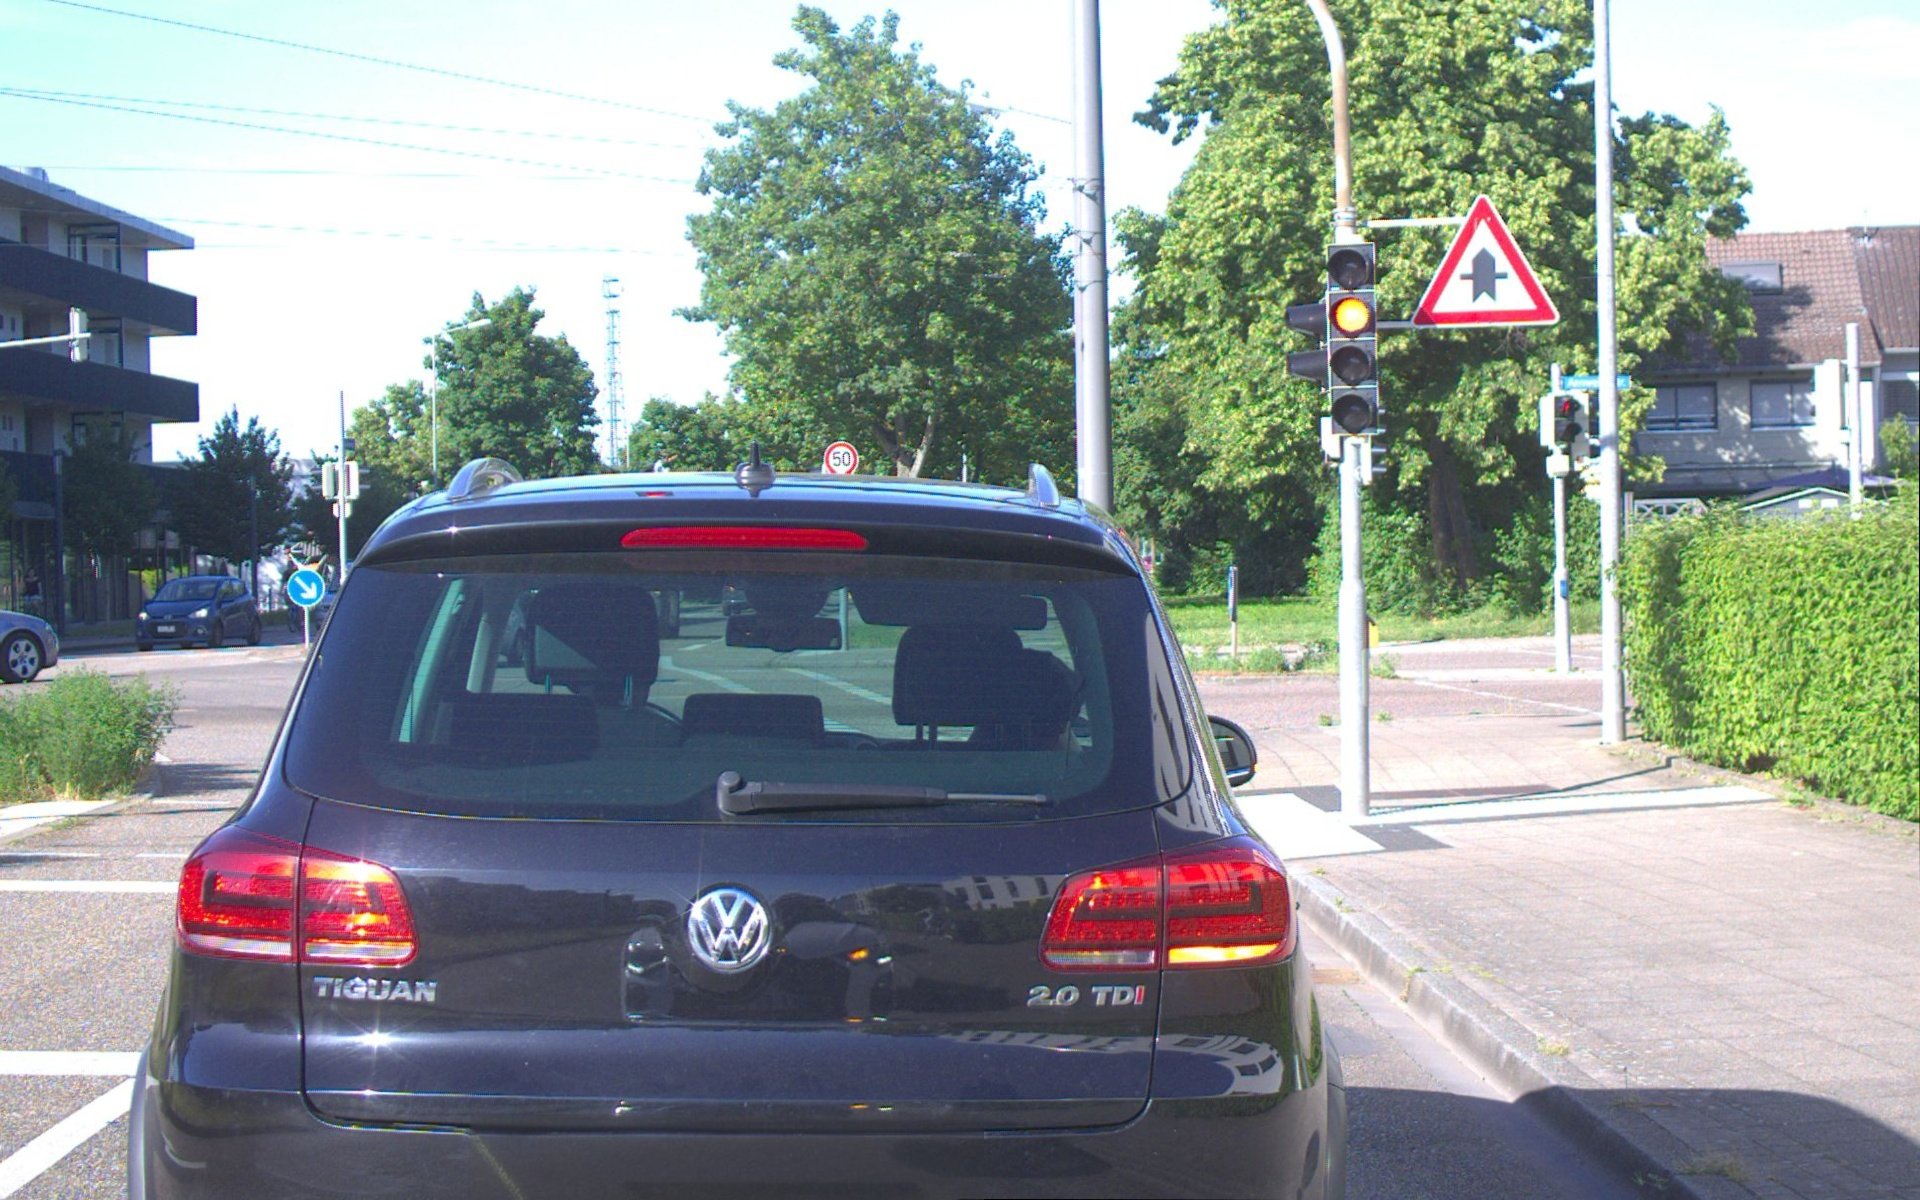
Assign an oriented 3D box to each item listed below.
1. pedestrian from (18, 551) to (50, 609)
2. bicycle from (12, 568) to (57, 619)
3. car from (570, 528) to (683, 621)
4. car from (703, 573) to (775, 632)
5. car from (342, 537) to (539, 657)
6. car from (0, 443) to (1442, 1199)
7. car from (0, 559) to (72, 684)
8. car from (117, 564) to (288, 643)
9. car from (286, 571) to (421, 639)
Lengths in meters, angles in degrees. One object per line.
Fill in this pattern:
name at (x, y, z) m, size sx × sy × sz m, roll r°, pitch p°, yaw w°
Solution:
pedestrian at (-24.197, -0.534, 89.852) m, size 0.642 × 1.504 × 0.596 m, roll 1°, pitch 0°, yaw 0°
bicycle at (-24.215, -0.180, 89.949) m, size 0.630 × 1.327 × 1.913 m, roll 1°, pitch 1°, yaw 1°
car at (-6.802, -0.530, 70.497) m, size 1.993 × 1.830 × 4.000 m, roll 1°, pitch 1°, yaw -1°
car at (-6.558, 0.049, 102.357) m, size 1.993 × 1.678 × 4.000 m, roll 1°, pitch 1°, yaw -2°
car at (-7.766, -0.075, 51.673) m, size 1.864 × 1.714 × 3.685 m, roll -1°, pitch 1°, yaw 9°
car at (-0.339, 0.603, 6.488) m, size 1.869 × 1.632 × 4.000 m, roll 1°, pitch 1°, yaw -1°
car at (-12.951, 0.301, 41.154) m, size 1.868 × 1.480 × 4.099 m, roll -1°, pitch 1°, yaw 44°
car at (-15.694, 0.056, 71.474) m, size 1.994 × 1.569 × 4.337 m, roll 1°, pitch 1°, yaw 9°
car at (-14.537, 0.092, 82.641) m, size 1.994 × 1.569 × 4.338 m, roll 1°, pitch 1°, yaw 7°
